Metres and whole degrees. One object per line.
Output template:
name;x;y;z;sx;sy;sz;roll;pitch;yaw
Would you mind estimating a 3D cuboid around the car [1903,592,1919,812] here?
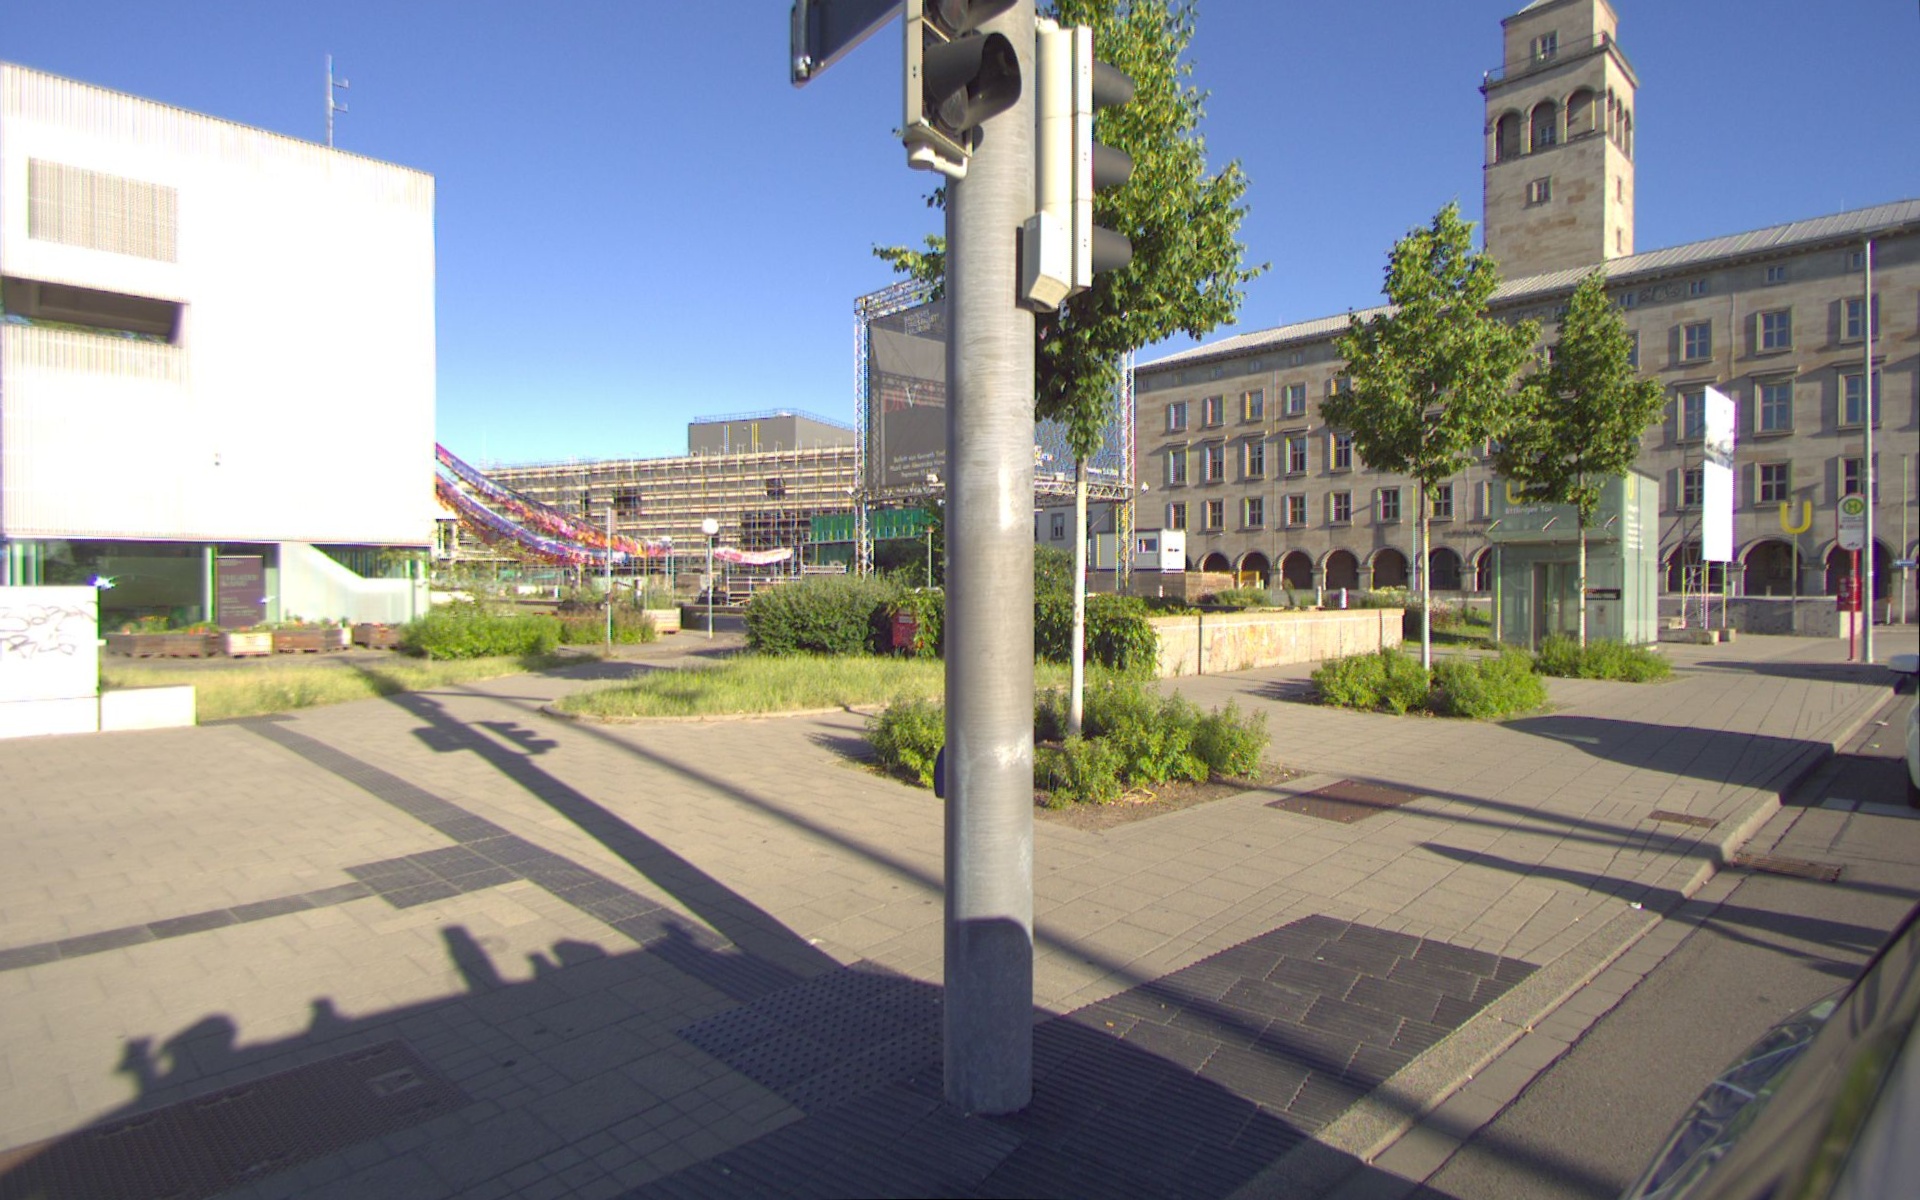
car;8.470;0.652;7.608;3.901;1.490;1.657;-1;-1;-42
